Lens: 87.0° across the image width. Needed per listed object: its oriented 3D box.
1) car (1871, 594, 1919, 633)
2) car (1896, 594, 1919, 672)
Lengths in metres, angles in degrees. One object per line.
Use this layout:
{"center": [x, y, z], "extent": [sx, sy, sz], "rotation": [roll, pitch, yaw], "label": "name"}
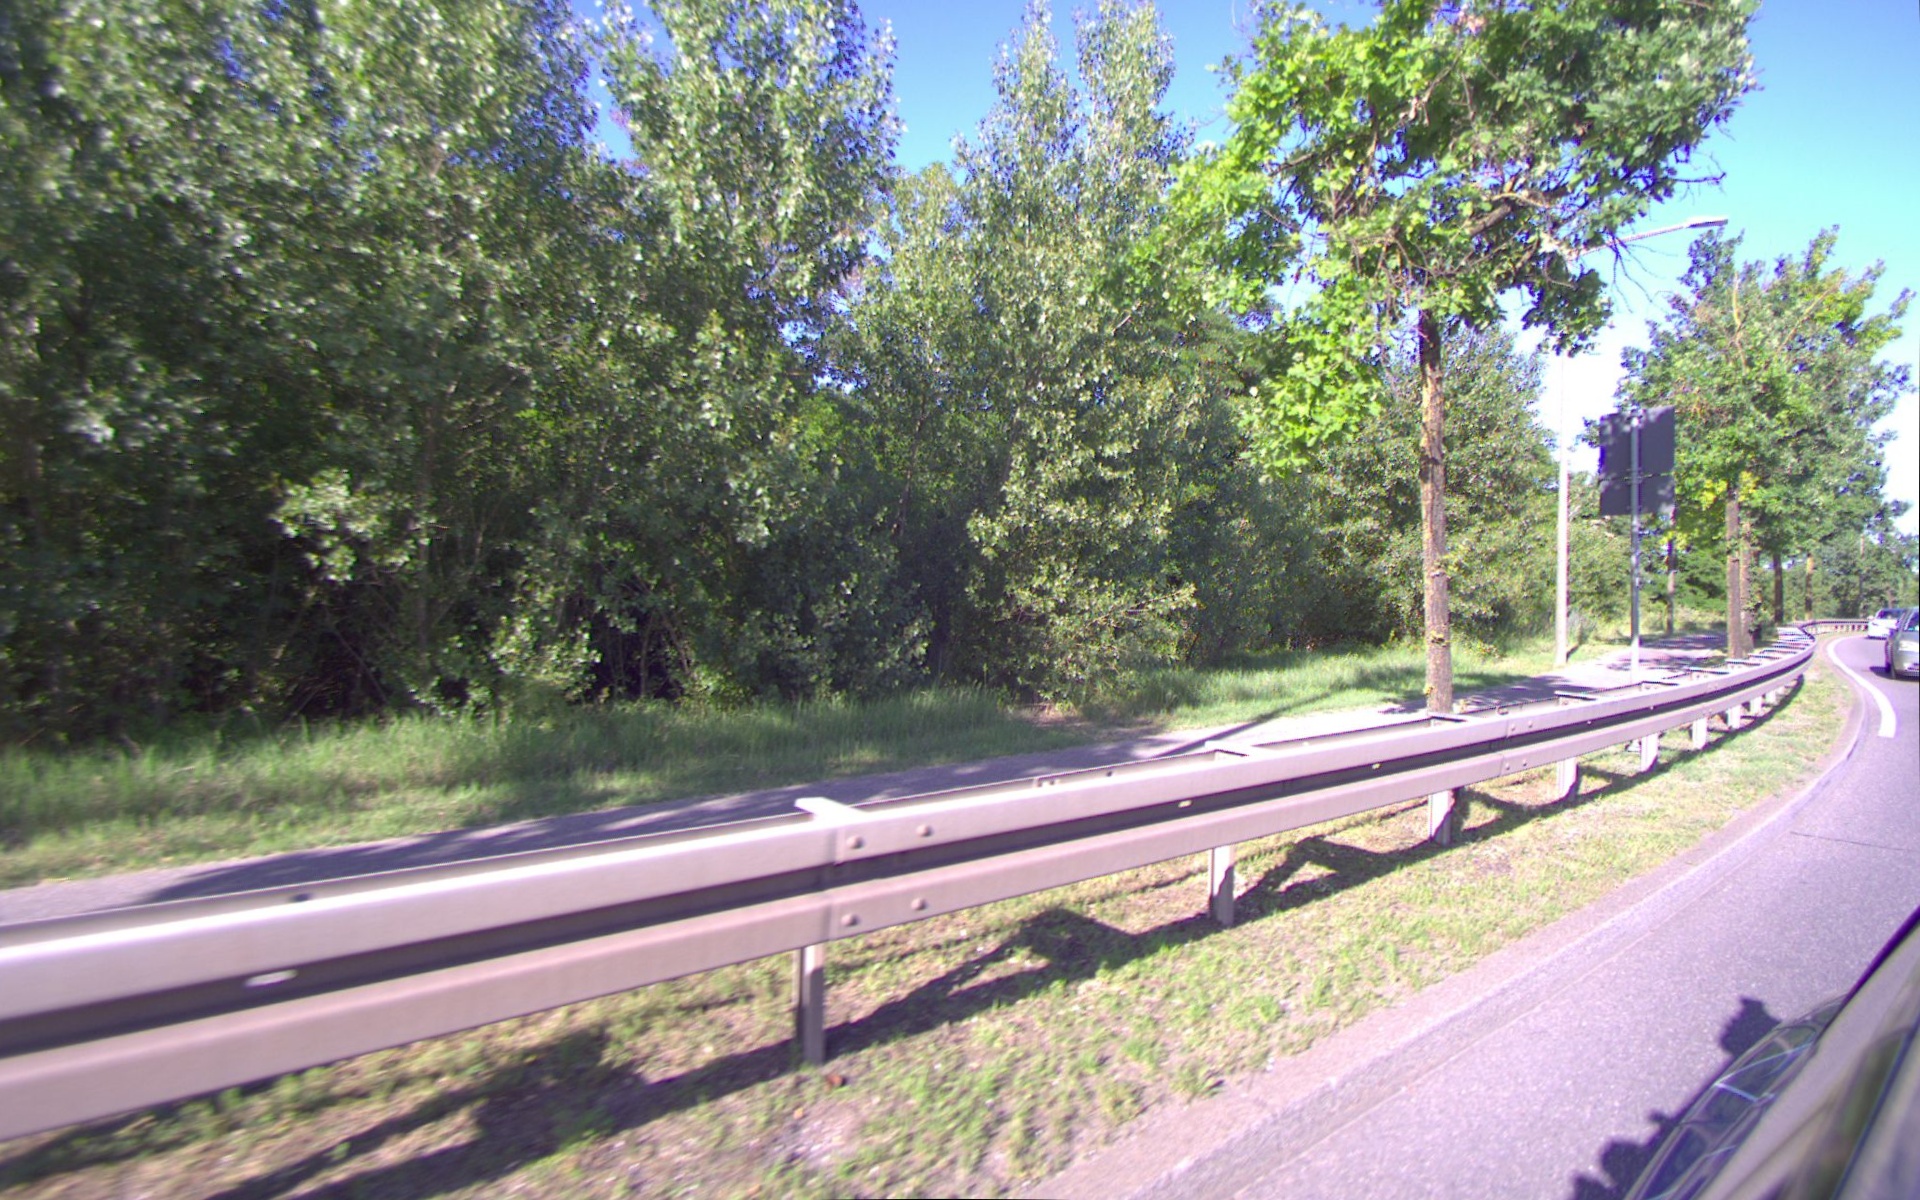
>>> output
{"center": [42.741, 0.605, 45.744], "extent": [2.143, 1.587, 4.136], "rotation": [4, 3, 40], "label": "car"}
{"center": [19.797, 0.659, 20.074], "extent": [1.678, 1.459, 3.800], "rotation": [3, 1, 41], "label": "car"}
